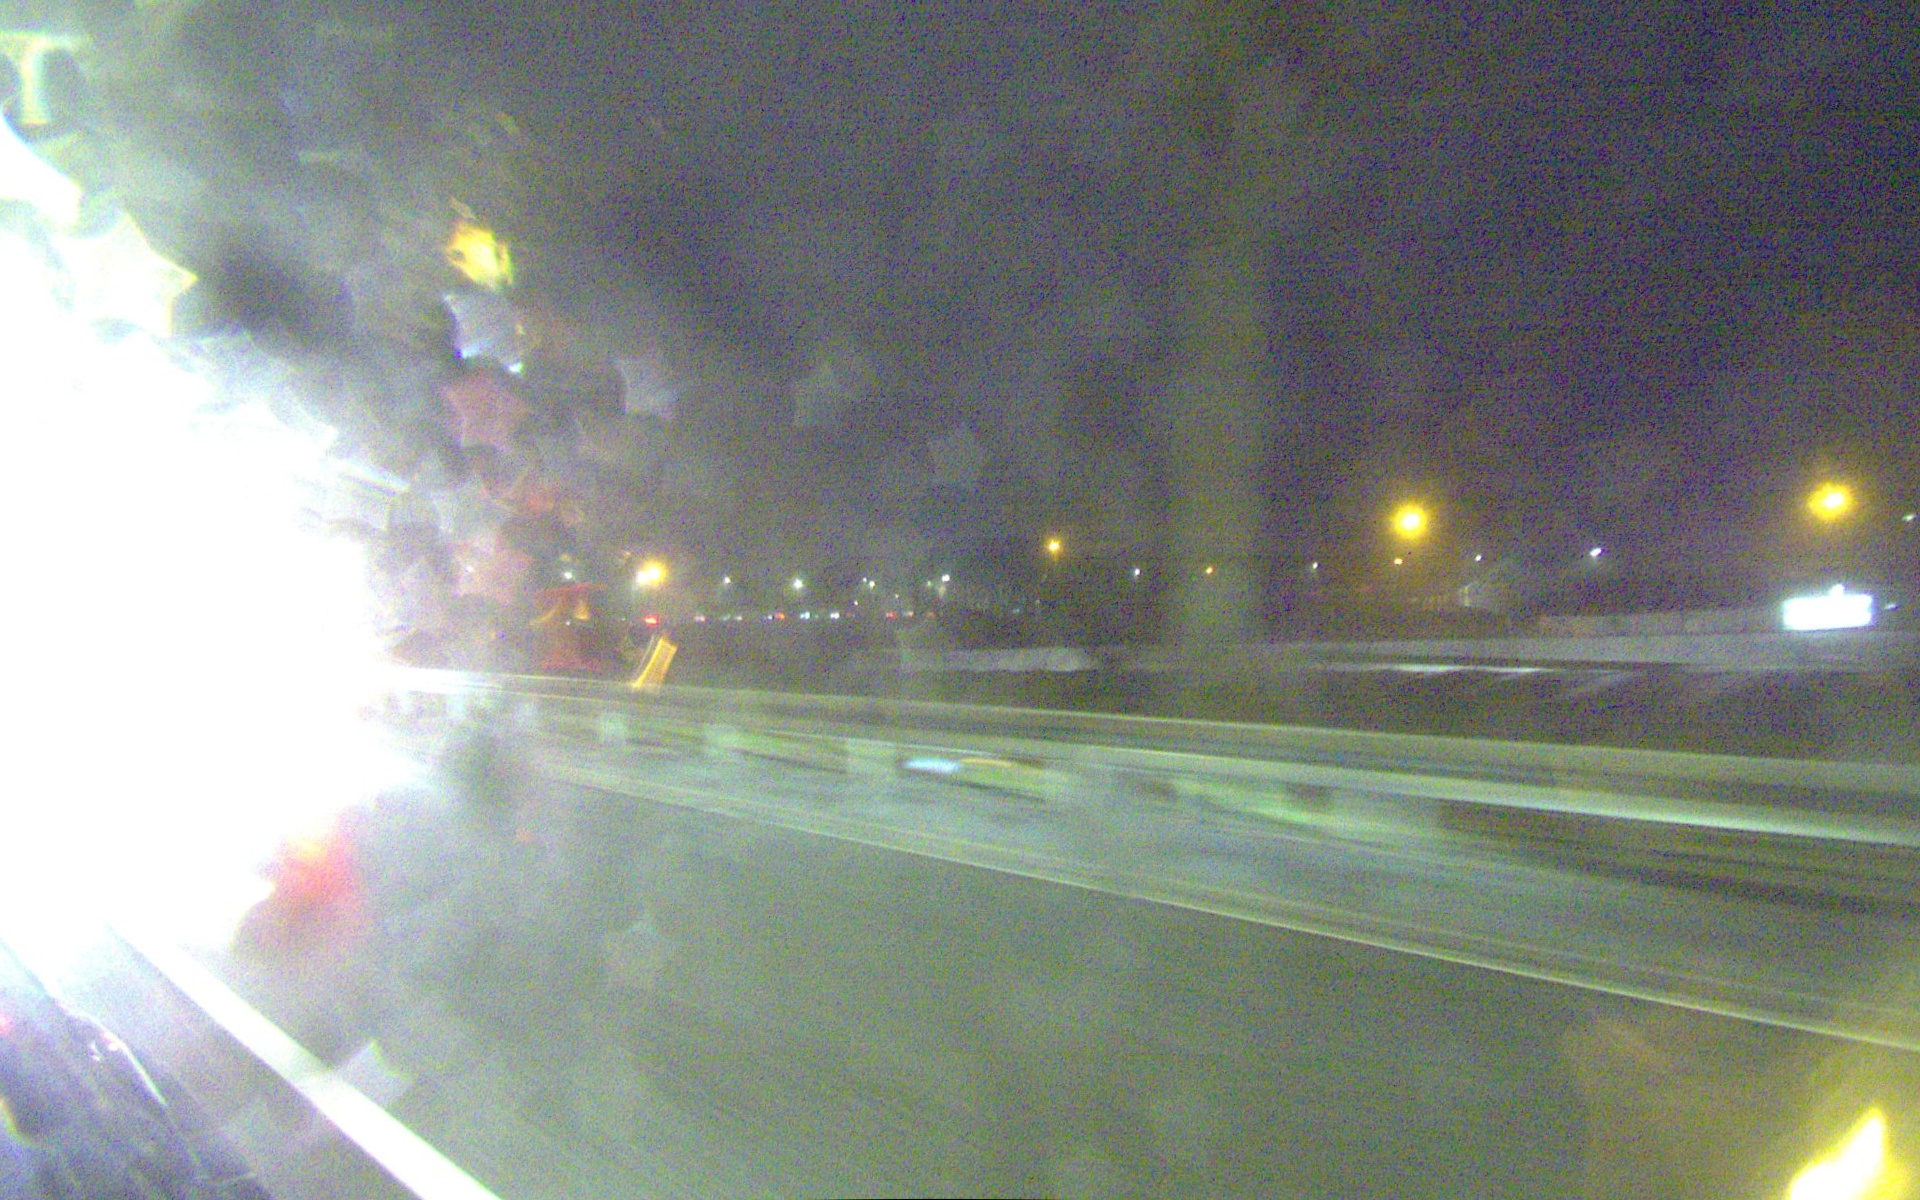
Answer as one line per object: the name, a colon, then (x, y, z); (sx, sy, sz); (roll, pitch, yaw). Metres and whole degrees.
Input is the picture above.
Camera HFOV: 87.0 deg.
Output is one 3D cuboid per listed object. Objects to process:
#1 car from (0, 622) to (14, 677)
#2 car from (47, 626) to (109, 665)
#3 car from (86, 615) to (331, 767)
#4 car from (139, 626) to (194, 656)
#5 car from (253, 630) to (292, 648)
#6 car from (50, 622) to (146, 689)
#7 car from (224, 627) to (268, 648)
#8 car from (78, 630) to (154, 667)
car: (-36.010, 1.842, 37.020); (1.969, 1.949, 4.005); (0, -2, -42)
car: (-46.333, 2.367, 53.231); (1.966, 1.949, 4.010); (0, -2, -34)
car: (-8.993, 0.953, 11.986); (4.046, 1.490, 1.600); (-2, -1, 42)
car: (-53.310, 2.743, 68.052); (1.965, 1.949, 4.013); (-1, -2, -23)
car: (-61.040, 3.433, 89.940); (1.965, 1.495, 4.012); (-1, -1, -20)
car: (-20.644, 1.282, 24.218); (1.644, 1.443, 3.824); (0, -1, -41)
car: (-50.051, 2.626, 70.992); (1.704, 1.415, 3.875); (0, -2, -22)
car: (-35.110, 1.977, 42.209); (1.767, 1.402, 4.605); (1, -1, -32)
